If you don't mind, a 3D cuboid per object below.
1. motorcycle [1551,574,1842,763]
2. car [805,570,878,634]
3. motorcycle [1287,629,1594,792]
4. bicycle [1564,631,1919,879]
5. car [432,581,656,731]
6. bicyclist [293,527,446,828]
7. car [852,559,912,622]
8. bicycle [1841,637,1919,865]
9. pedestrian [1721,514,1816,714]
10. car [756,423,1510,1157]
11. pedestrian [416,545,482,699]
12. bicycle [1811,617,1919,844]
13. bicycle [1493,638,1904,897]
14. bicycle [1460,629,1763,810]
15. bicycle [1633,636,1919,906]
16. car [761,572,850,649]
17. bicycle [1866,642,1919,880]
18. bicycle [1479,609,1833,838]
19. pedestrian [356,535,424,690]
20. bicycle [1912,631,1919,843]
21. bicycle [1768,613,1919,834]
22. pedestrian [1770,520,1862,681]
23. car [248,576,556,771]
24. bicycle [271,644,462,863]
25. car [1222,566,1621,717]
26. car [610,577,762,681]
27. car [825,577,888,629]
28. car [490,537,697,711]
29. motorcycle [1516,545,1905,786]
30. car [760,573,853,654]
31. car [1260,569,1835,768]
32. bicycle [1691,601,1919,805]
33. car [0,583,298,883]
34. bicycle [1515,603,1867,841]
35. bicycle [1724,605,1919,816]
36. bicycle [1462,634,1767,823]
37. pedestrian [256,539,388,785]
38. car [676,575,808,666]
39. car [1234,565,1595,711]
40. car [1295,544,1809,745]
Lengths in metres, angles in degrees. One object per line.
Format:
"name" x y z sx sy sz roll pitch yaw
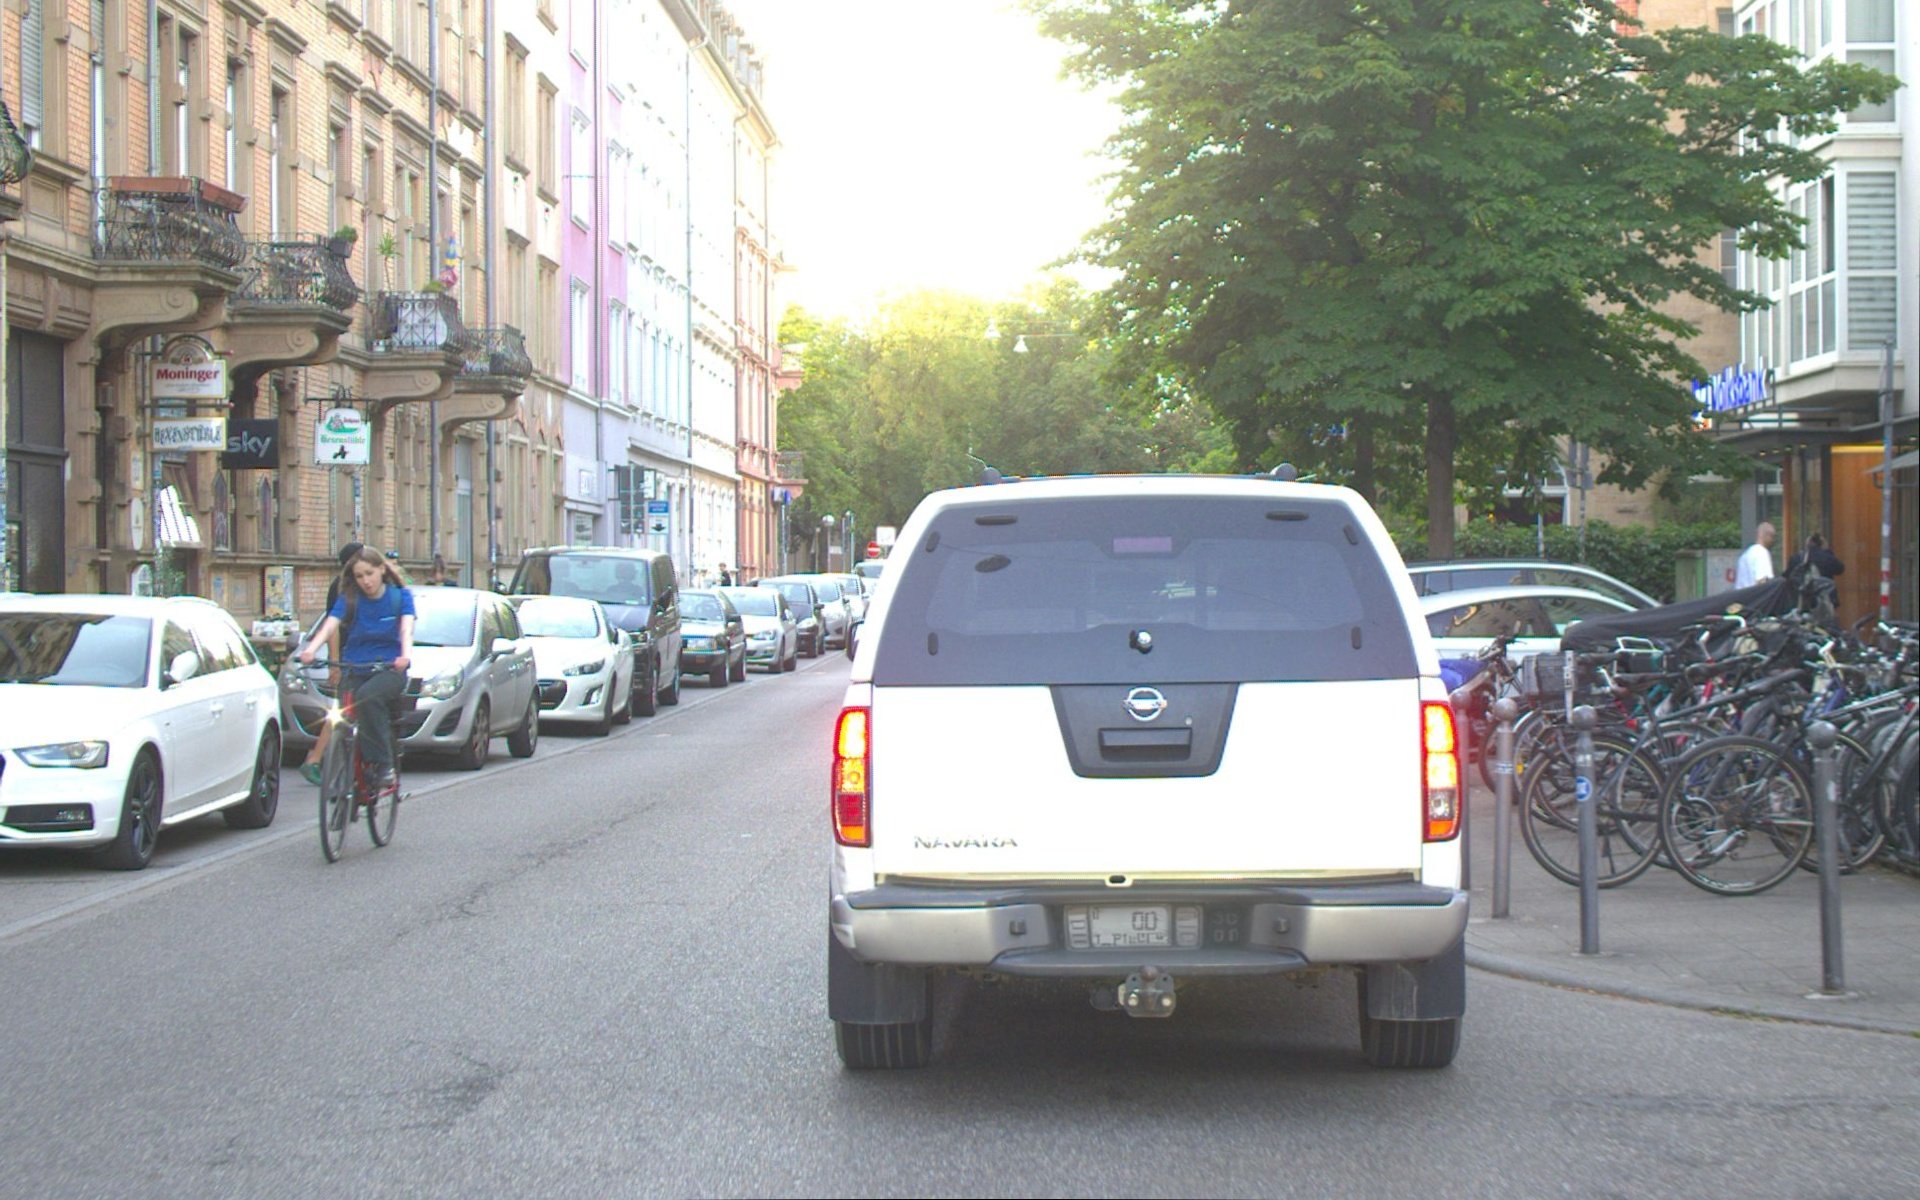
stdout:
"motorcycle" 5.750 0.524 26.907 2.057 1.365 0.717 -3 1 -2
"car" -3.158 0.042 92.333 1.698 1.615 4.022 2 0 1
"motorcycle" 3.471 0.787 24.850 2.057 1.074 0.664 -2 0 -13
"bicycle" 3.932 0.742 16.769 1.809 1.114 0.707 -2 0 0
"car" -4.341 0.544 36.469 1.783 1.418 4.485 2 0 0
"bicyclist" -3.277 0.416 19.146 0.645 1.615 0.918 -2 0 0
"car" -2.566 -0.315 112.191 1.810 1.970 4.187 2 0 -2
"bicycle" 5.139 0.686 16.343 1.722 1.050 0.653 -2 0 5
"pedestrian" 7.133 0.126 30.348 0.625 1.747 0.588 1 -1 -9
"car" 0.670 0.495 11.682 1.911 1.847 5.269 2 0 5
"pedestrian" -6.025 0.254 40.567 0.605 1.766 0.777 3 1 -2
"bicycle" 5.278 0.636 17.496 1.722 1.114 0.653 -2 0 5
"bicycle" 3.416 0.767 15.999 1.722 1.114 0.707 -2 0 0
"bicycle" 4.109 0.749 21.764 1.773 1.019 0.565 -4 -1 5
"bicycle" 3.892 0.733 15.119 1.722 1.114 0.707 -2 0 5
"car" -3.395 0.213 76.182 1.844 1.653 4.253 0 0 -1
"bicycle" 5.083 0.699 15.673 1.722 1.050 0.653 -2 0 5
"bicycle" 3.978 0.700 19.774 1.869 1.178 0.742 -4 -1 7
"pedestrian" -6.672 0.133 40.285 0.580 1.765 0.998 3 1 -2
"bicycle" 5.014 0.666 14.649 1.722 1.128 0.579 -2 0 -10
"bicycle" 5.190 0.626 18.070 1.722 1.114 0.653 -2 0 5
"pedestrian" 9.333 0.006 37.510 0.727 1.710 0.963 -2 0 2
"car" -4.614 0.562 28.973 1.717 1.452 4.000 2 1 3
"bicycle" -3.257 0.817 19.044 0.645 1.077 2.168 -2 1 0
"car" 4.892 0.428 36.840 3.987 1.451 1.828 -2 1 0
"car" -4.011 0.416 50.996 1.737 1.413 4.778 2 0 1
"car" -2.935 0.076 98.118 1.698 1.421 4.022 2 0 -1
"car" -4.381 0.253 41.827 1.993 1.917 4.951 2 0 -1
"motorcycle" 5.184 0.450 23.878 2.492 1.544 0.824 -2 -1 5
"car" -3.088 0.255 69.849 1.636 1.560 3.781 1 0 1
"car" 4.876 0.547 28.902 4.422 1.450 1.780 -2 0 -4
"bicycle" 5.182 0.577 19.875 1.722 1.114 0.654 -2 0 -1
"car" -5.109 0.649 19.313 1.758 1.407 4.508 1 1 2
"bicycle" 4.018 0.666 18.929 1.789 1.178 0.733 -4 -1 13
"bicycle" 5.213 0.593 19.152 1.722 1.114 0.654 -2 0 -1
"bicycle" 4.006 0.784 21.152 1.720 1.028 0.667 -4 -1 5
"pedestrian" -4.650 0.447 25.106 0.554 1.749 1.021 0 -1 14
"car" -3.772 0.337 60.047 1.834 1.453 4.206 3 0 2
"car" 5.168 0.418 39.410 3.793 1.448 1.736 -3 1 -3
"car" 5.381 0.394 31.648 4.399 1.642 1.746 -2 0 2
